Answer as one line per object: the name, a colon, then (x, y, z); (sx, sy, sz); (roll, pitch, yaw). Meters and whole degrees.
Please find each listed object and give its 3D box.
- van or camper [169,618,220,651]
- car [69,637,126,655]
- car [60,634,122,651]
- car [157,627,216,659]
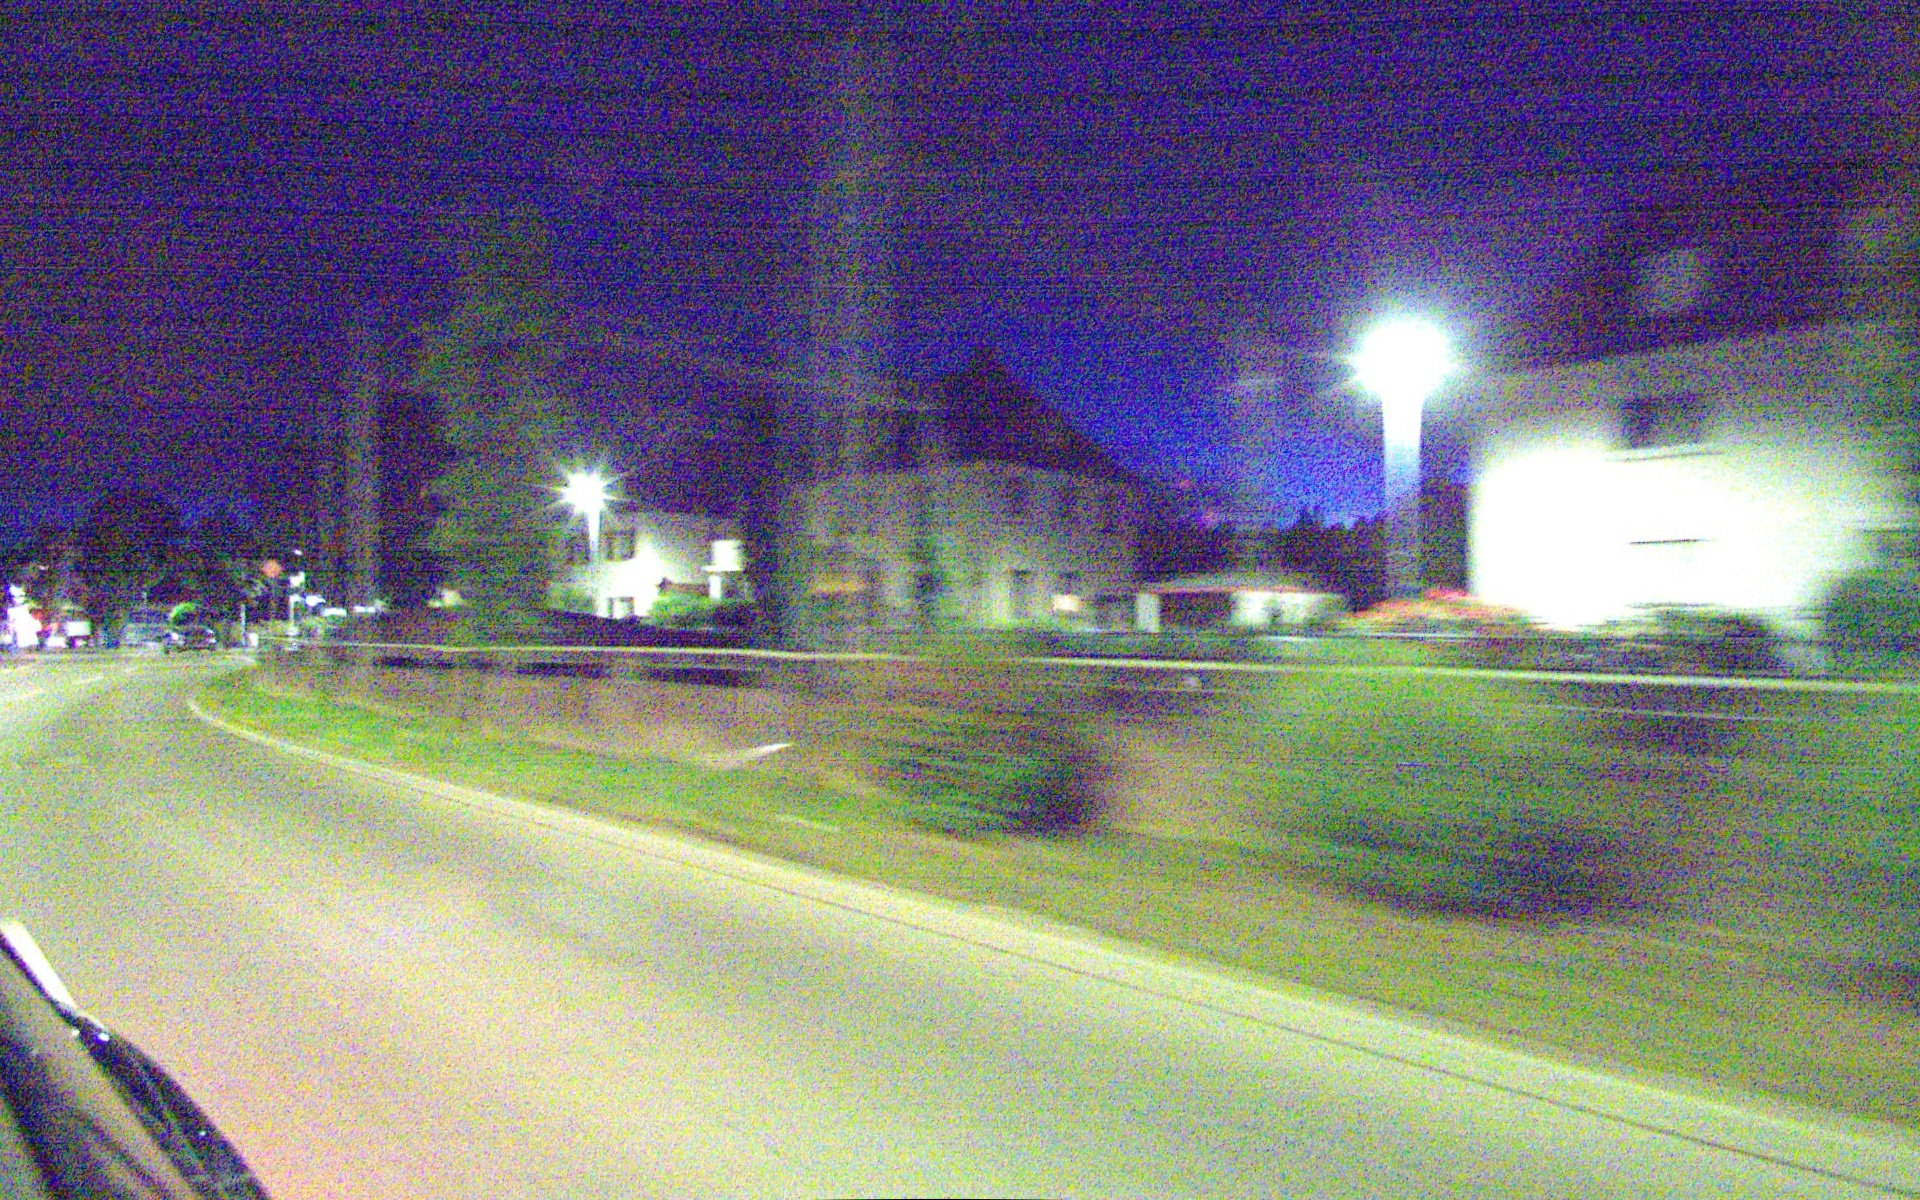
van or camper: (-67.072, 3.023, 88.639); (5.919, 2.768, 2.055); (-3, -2, 37)
car: (-84.314, 4.498, 98.970); (1.999, 1.630, 3.946); (-3, -3, 41)
car: (-86.318, 4.227, 100.543); (2.022, 1.573, 4.281); (-3, -2, 30)
car: (-41.488, 2.313, 54.264); (3.982, 1.603, 1.656); (-3, -2, 39)
